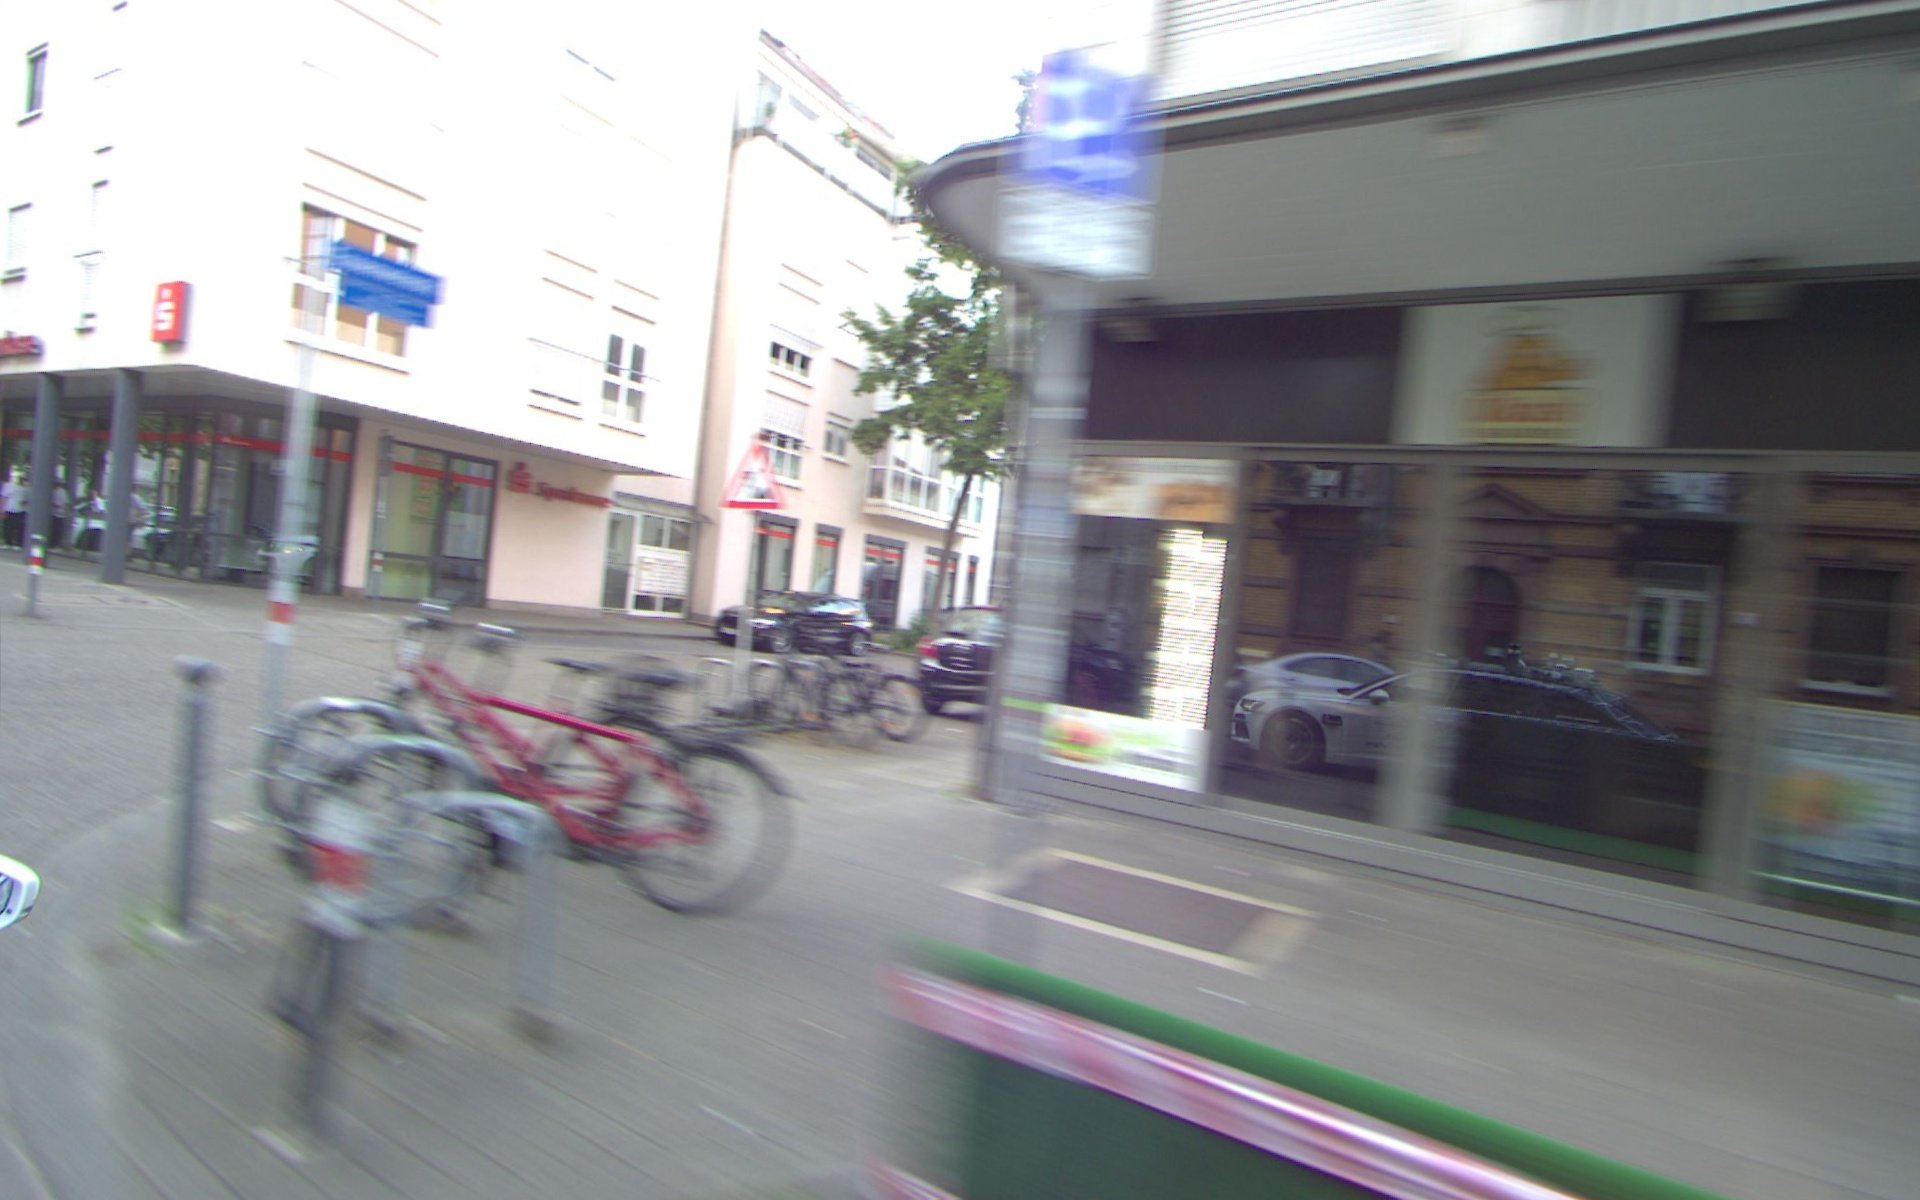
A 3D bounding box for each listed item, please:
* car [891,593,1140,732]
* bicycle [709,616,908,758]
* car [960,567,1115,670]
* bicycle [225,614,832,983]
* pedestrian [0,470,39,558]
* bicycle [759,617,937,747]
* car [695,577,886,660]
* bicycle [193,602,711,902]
[{"bbox_3d":[0.882,0.844,13.570,1.678,1.493,3.671,5,-1,32],"label":"car"},{"bbox_3d":[-1.453,0.769,9.406,1.934,1.080,0.562,5,0,36],"label":"bicycle"},{"bbox_3d":[2.757,0.741,33.403,2.040,2.767,6.773,9,0,30],"label":"car"},{"bbox_3d":[-1.547,0.711,3.872,1.917,1.149,0.653,4,2,-22],"label":"bicycle"},{"bbox_3d":[-19.800,-1.800,20.979,0.658,1.746,0.656,5,3,-32],"label":"pedestrian"},{"bbox_3d":[-1.137,0.782,10.000,1.729,1.080,0.563,5,0,33],"label":"bicycle"},{"bbox_3d":[-3.825,0.473,23.350,1.764,1.451,4.232,10,2,36],"label":"car"},{"bbox_3d":[-2.195,0.667,4.591,1.917,1.149,0.653,4,2,-22],"label":"bicycle"}]
